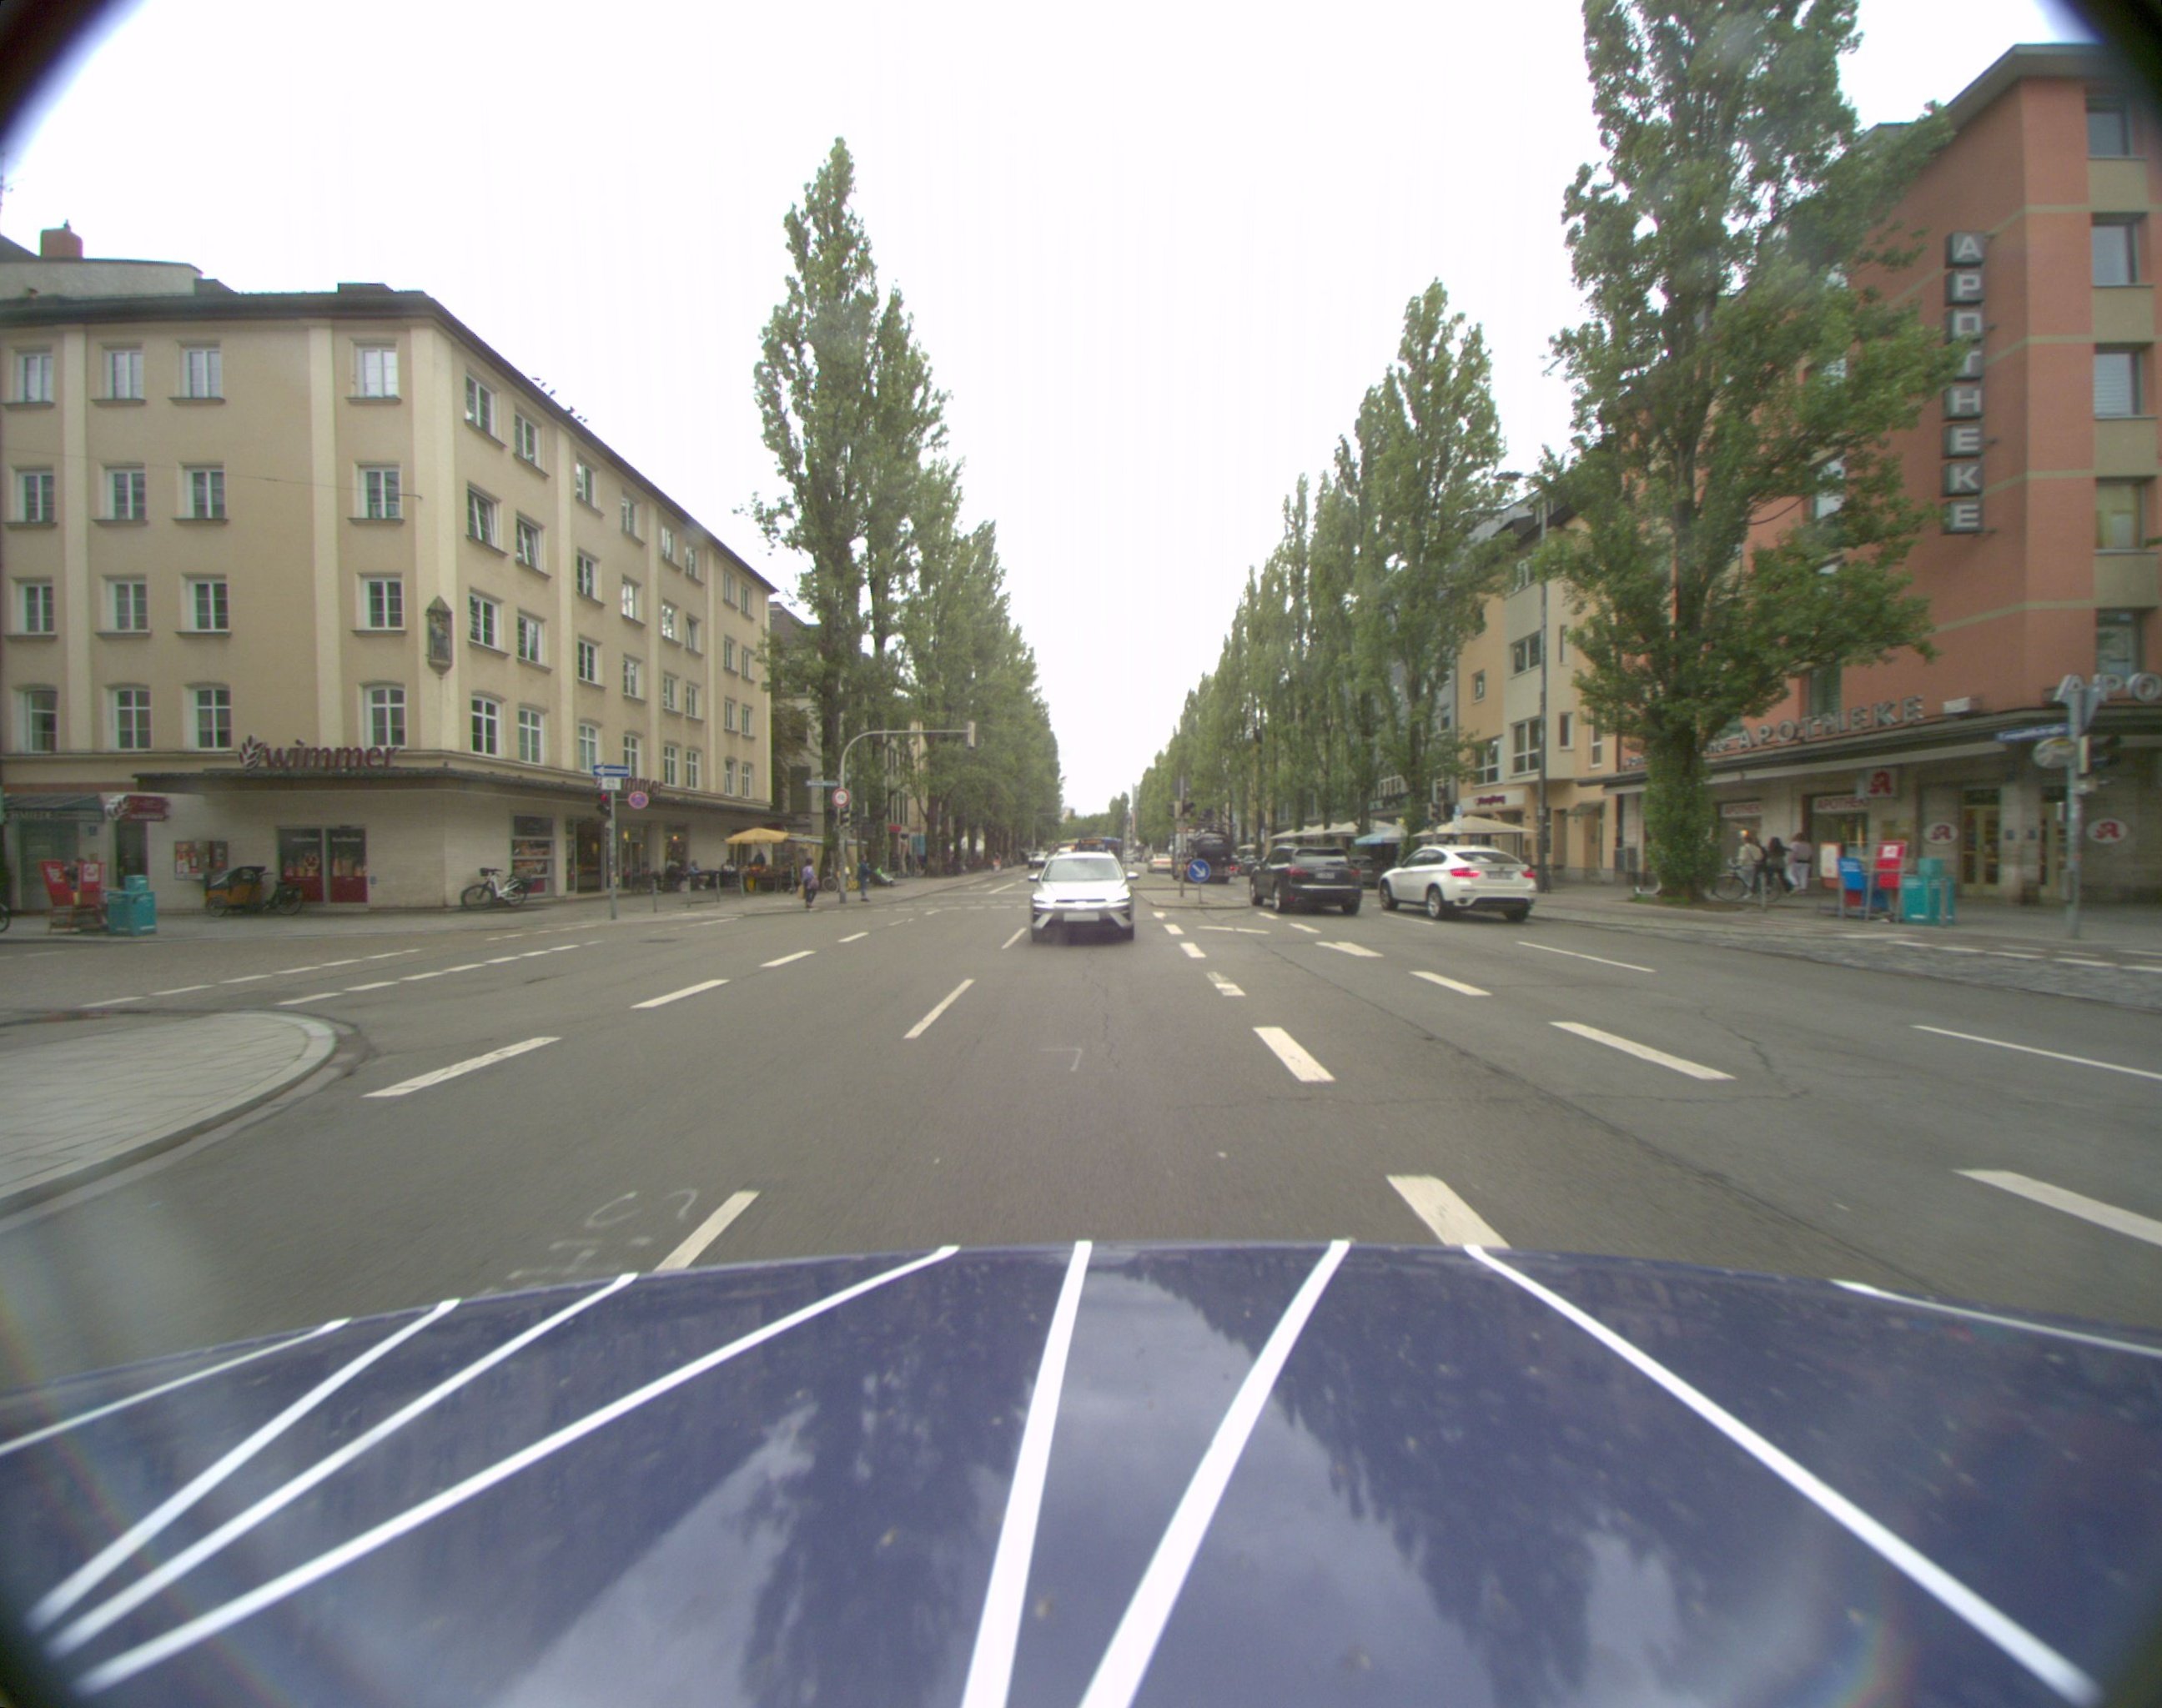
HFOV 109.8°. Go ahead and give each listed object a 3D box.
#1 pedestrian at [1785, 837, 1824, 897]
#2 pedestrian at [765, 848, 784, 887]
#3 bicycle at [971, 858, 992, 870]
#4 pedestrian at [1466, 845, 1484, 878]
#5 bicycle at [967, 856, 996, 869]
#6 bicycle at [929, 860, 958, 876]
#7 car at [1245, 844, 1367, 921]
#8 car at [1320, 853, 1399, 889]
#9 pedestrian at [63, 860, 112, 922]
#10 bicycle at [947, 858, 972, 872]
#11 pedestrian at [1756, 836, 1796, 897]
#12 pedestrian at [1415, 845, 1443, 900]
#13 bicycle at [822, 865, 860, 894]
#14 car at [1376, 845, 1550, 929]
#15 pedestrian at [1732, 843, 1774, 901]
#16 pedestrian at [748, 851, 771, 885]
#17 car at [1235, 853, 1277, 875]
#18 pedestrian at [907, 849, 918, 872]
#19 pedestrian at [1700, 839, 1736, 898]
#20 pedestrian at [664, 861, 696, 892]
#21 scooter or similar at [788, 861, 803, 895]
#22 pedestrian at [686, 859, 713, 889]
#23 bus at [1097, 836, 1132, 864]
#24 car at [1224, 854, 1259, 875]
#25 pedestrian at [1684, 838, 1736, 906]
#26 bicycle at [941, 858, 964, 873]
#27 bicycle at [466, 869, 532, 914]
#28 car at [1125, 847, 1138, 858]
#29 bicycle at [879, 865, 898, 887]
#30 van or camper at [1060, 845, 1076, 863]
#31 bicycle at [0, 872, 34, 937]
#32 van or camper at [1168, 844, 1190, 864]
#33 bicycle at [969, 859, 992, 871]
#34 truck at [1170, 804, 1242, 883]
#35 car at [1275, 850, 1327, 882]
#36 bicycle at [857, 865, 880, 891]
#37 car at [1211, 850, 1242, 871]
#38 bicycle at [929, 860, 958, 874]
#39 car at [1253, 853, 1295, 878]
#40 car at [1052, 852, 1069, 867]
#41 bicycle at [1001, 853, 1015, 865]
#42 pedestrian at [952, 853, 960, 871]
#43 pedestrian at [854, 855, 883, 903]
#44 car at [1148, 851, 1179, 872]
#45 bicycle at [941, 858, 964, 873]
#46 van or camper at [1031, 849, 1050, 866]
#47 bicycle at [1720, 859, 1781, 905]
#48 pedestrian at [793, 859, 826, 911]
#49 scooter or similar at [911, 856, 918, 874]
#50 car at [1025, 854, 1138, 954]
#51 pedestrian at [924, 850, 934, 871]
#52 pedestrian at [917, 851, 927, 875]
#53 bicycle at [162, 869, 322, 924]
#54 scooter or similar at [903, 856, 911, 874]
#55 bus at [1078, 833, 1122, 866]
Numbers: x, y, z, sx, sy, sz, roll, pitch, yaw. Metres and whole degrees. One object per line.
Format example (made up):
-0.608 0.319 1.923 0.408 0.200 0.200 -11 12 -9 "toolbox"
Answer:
20.326 0.359 21.363 0.588 1.681 0.514 0 1 1 "pedestrian"
-13.185 0.591 32.674 0.541 1.664 0.537 0 1 8 "pedestrian"
-9.339 0.944 71.455 1.902 1.120 0.686 -1 0 1 "bicycle"
20.467 0.405 39.495 0.556 1.708 0.692 0 1 0 "pedestrian"
-9.186 0.767 70.119 2.577 1.208 0.965 0 1 1 "bicycle"
-9.694 0.966 53.523 2.005 1.077 0.286 -1 1 -9 "bicycle"
5.578 0.628 19.431 1.889 1.736 4.439 -1 0 1 "car"
12.128 0.687 33.428 1.707 1.430 4.589 1 1 -1 "car"
-25.584 0.954 19.563 0.584 1.548 0.445 -2 1 2 "pedestrian"
-9.491 0.868 59.486 1.871 1.129 0.339 0 1 -8 "bicycle"
19.524 0.348 21.351 0.631 1.679 0.519 -2 1 2 "pedestrian"
11.739 0.605 25.675 0.736 1.785 0.994 -1 1 19 "pedestrian"
-9.633 1.007 30.560 0.405 1.064 1.813 -6 0 17 "bicycle"
8.743 0.658 17.935 1.841 1.706 4.635 0 0 1 "car"
18.388 0.479 20.805 0.658 1.574 0.548 0 1 2 "pedestrian"
-15.219 0.664 35.999 0.777 1.580 0.699 -1 1 1 "pedestrian"
11.866 0.652 51.755 1.707 1.404 4.432 1 1 -1 "car"
-13.529 0.482 61.133 0.658 1.840 0.906 0 1 3 "pedestrian"
18.215 0.412 21.739 0.508 1.661 0.626 -1 1 2 "pedestrian"
-16.275 0.917 30.837 0.870 1.192 0.699 4 1 1 "pedestrian"
-10.898 0.890 29.005 0.408 1.236 1.370 -1 1 -15 "scooter or similar"
-16.308 0.861 32.493 0.777 1.257 0.699 -1 1 1 "pedestrian"
3.884 -0.487 84.932 2.804 2.886 12.865 0 0 8 "bus"
12.023 0.730 57.112 1.681 1.458 4.369 1 1 1 "car"
16.569 0.465 20.037 0.726 1.761 0.778 0 1 2 "pedestrian"
-9.862 0.869 58.315 1.666 1.100 0.396 -1 1 -11 "bicycle"
-16.438 1.034 21.512 0.435 1.164 1.811 -2 1 -1 "bicycle"
8.056 -0.223 120.986 1.848 1.626 4.575 1 0 1 "car"
-9.326 1.049 36.821 0.510 0.970 1.770 0 0 -1 "bicycle"
-1.842 -0.023 111.316 1.998 2.470 6.643 -2 0 1 "van or camper"
-23.732 1.081 16.328 1.832 1.378 0.481 -1 1 2 "bicycle"
12.962 0.035 100.693 2.131 2.535 6.644 0 0 1 "van or camper"
-8.510 0.928 64.376 1.842 1.003 0.393 1 1 10 "bicycle"
6.319 -0.524 39.578 2.469 3.649 8.438 0 1 1 "truck"
11.814 0.595 41.057 1.707 1.574 4.095 1 1 1 "car"
-9.192 1.015 32.879 0.510 1.042 1.770 0 0 -1 "bicycle"
12.047 0.518 63.237 1.784 1.671 4.586 1 1 2 "car"
-9.741 0.928 53.851 2.005 0.940 0.286 0 1 -8 "bicycle"
11.825 0.679 46.764 1.497 1.373 4.186 1 1 1 "car"
-2.269 0.614 85.286 1.758 1.529 3.916 -2 0 0 "car"
-8.862 0.604 92.641 0.829 1.403 2.594 -2 0 -25 "bicycle"
-12.050 0.770 73.449 0.566 1.732 0.697 -1 1 4 "pedestrian"
-7.279 0.839 26.087 0.767 1.600 0.864 0 1 -3 "pedestrian"
6.341 0.542 58.796 1.848 1.493 4.985 0 0 0 "car"
-9.789 0.869 57.891 1.679 1.111 0.286 0 1 -12 "bicycle"
-4.597 0.390 87.745 1.795 1.894 4.566 -1 0 1 "van or camper"
17.535 0.713 19.929 0.422 1.135 1.373 -1 1 2 "bicycle"
-8.262 0.926 23.113 0.766 1.509 0.620 2 4 45 "pedestrian"
-11.863 0.785 54.028 0.248 1.266 1.036 -1 1 1 "scooter or similar"
0.010 0.810 14.206 1.758 1.529 3.916 -2 0 0 "car"
-12.852 0.514 64.174 0.658 1.774 0.674 0 1 2 "pedestrian"
-12.784 0.730 61.162 0.658 1.959 0.722 0 0 3 "pedestrian"
-21.741 1.084 19.733 2.978 1.245 0.999 -2 1 0 "bicycle"
-12.376 0.790 54.090 0.331 1.266 1.036 -1 1 1 "scooter or similar"
1.986 -0.422 72.176 2.804 2.886 12.865 0 0 8 "bus"
